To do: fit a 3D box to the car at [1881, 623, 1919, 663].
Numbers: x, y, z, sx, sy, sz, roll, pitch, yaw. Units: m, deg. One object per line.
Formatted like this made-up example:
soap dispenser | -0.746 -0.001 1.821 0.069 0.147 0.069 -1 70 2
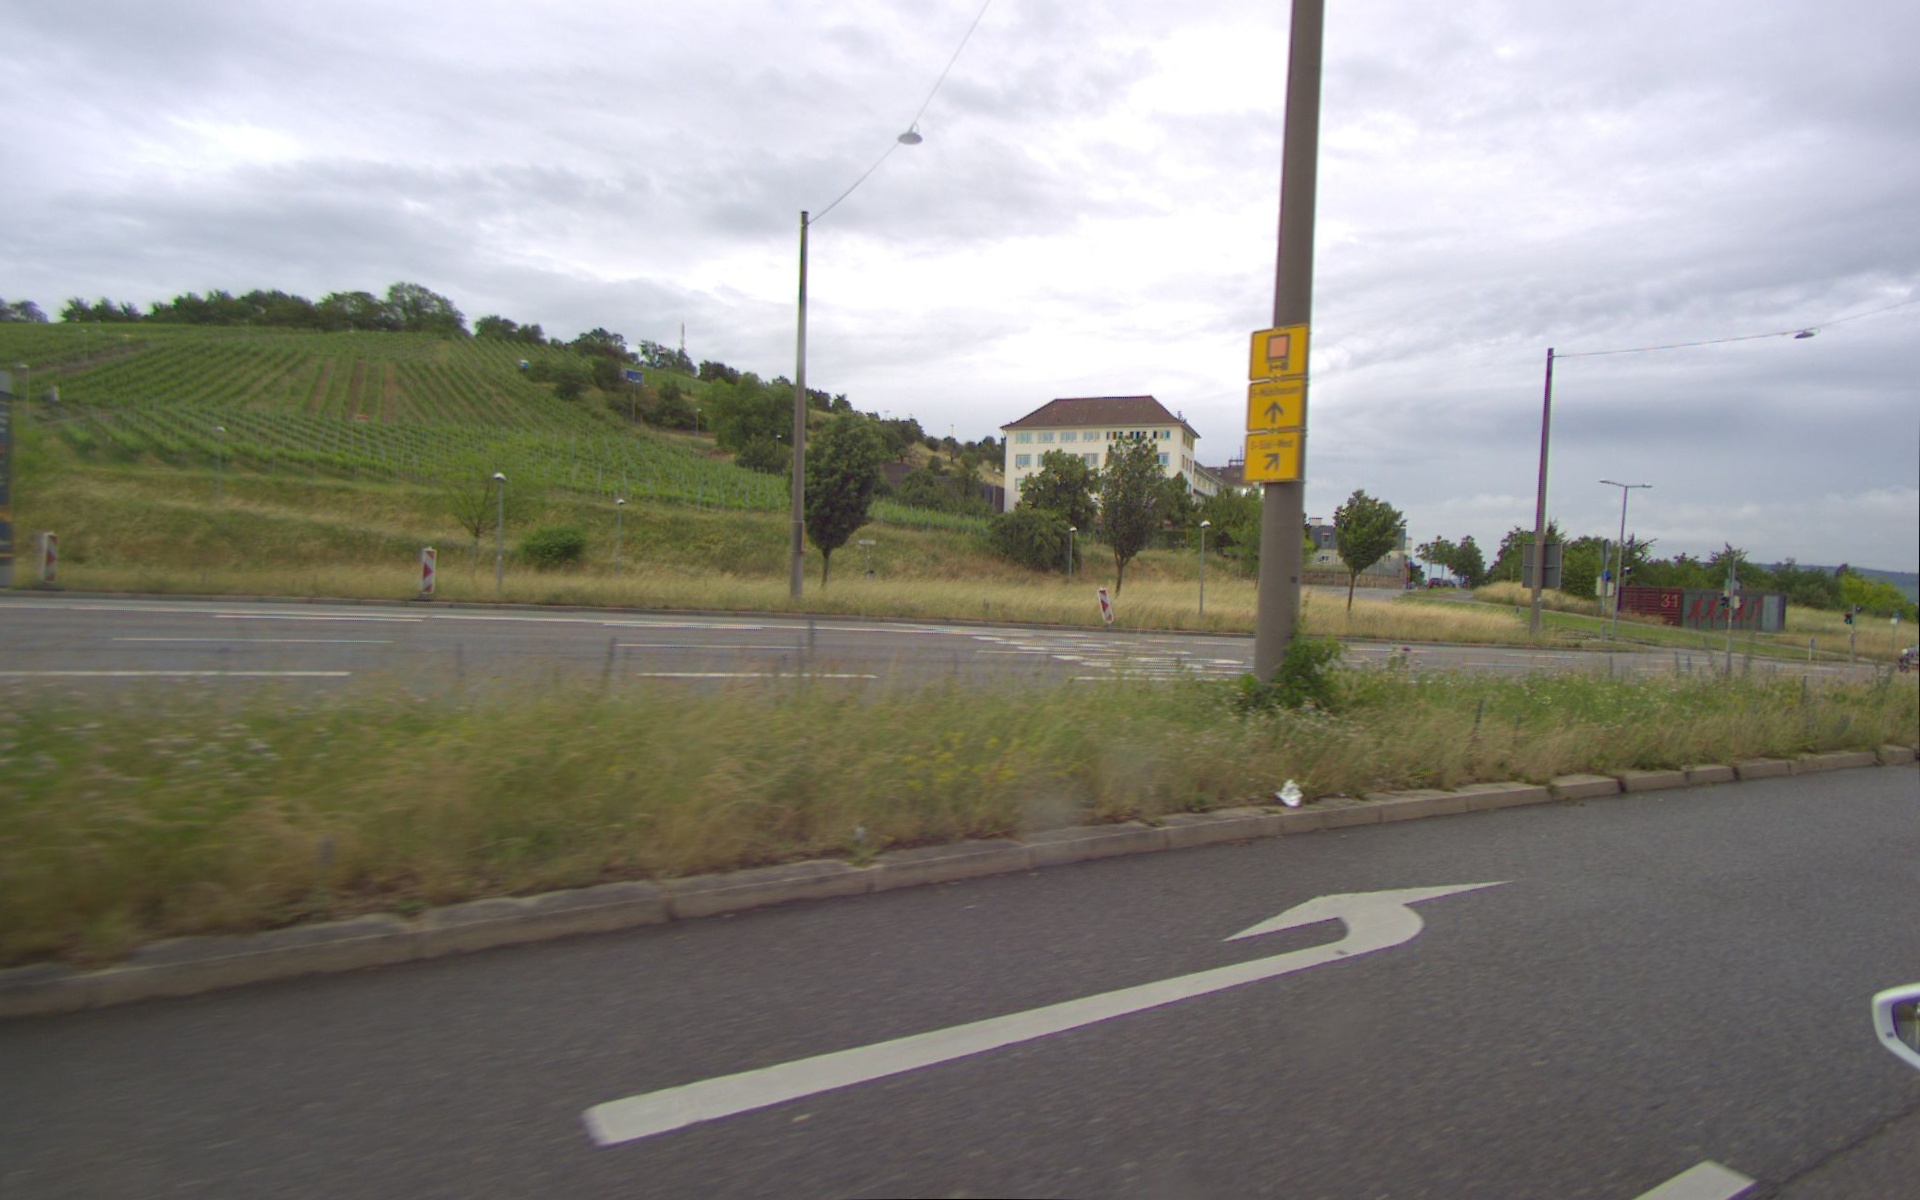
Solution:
car | 37.575 1.780 38.497 3.943 1.402 1.764 5 0 -22
